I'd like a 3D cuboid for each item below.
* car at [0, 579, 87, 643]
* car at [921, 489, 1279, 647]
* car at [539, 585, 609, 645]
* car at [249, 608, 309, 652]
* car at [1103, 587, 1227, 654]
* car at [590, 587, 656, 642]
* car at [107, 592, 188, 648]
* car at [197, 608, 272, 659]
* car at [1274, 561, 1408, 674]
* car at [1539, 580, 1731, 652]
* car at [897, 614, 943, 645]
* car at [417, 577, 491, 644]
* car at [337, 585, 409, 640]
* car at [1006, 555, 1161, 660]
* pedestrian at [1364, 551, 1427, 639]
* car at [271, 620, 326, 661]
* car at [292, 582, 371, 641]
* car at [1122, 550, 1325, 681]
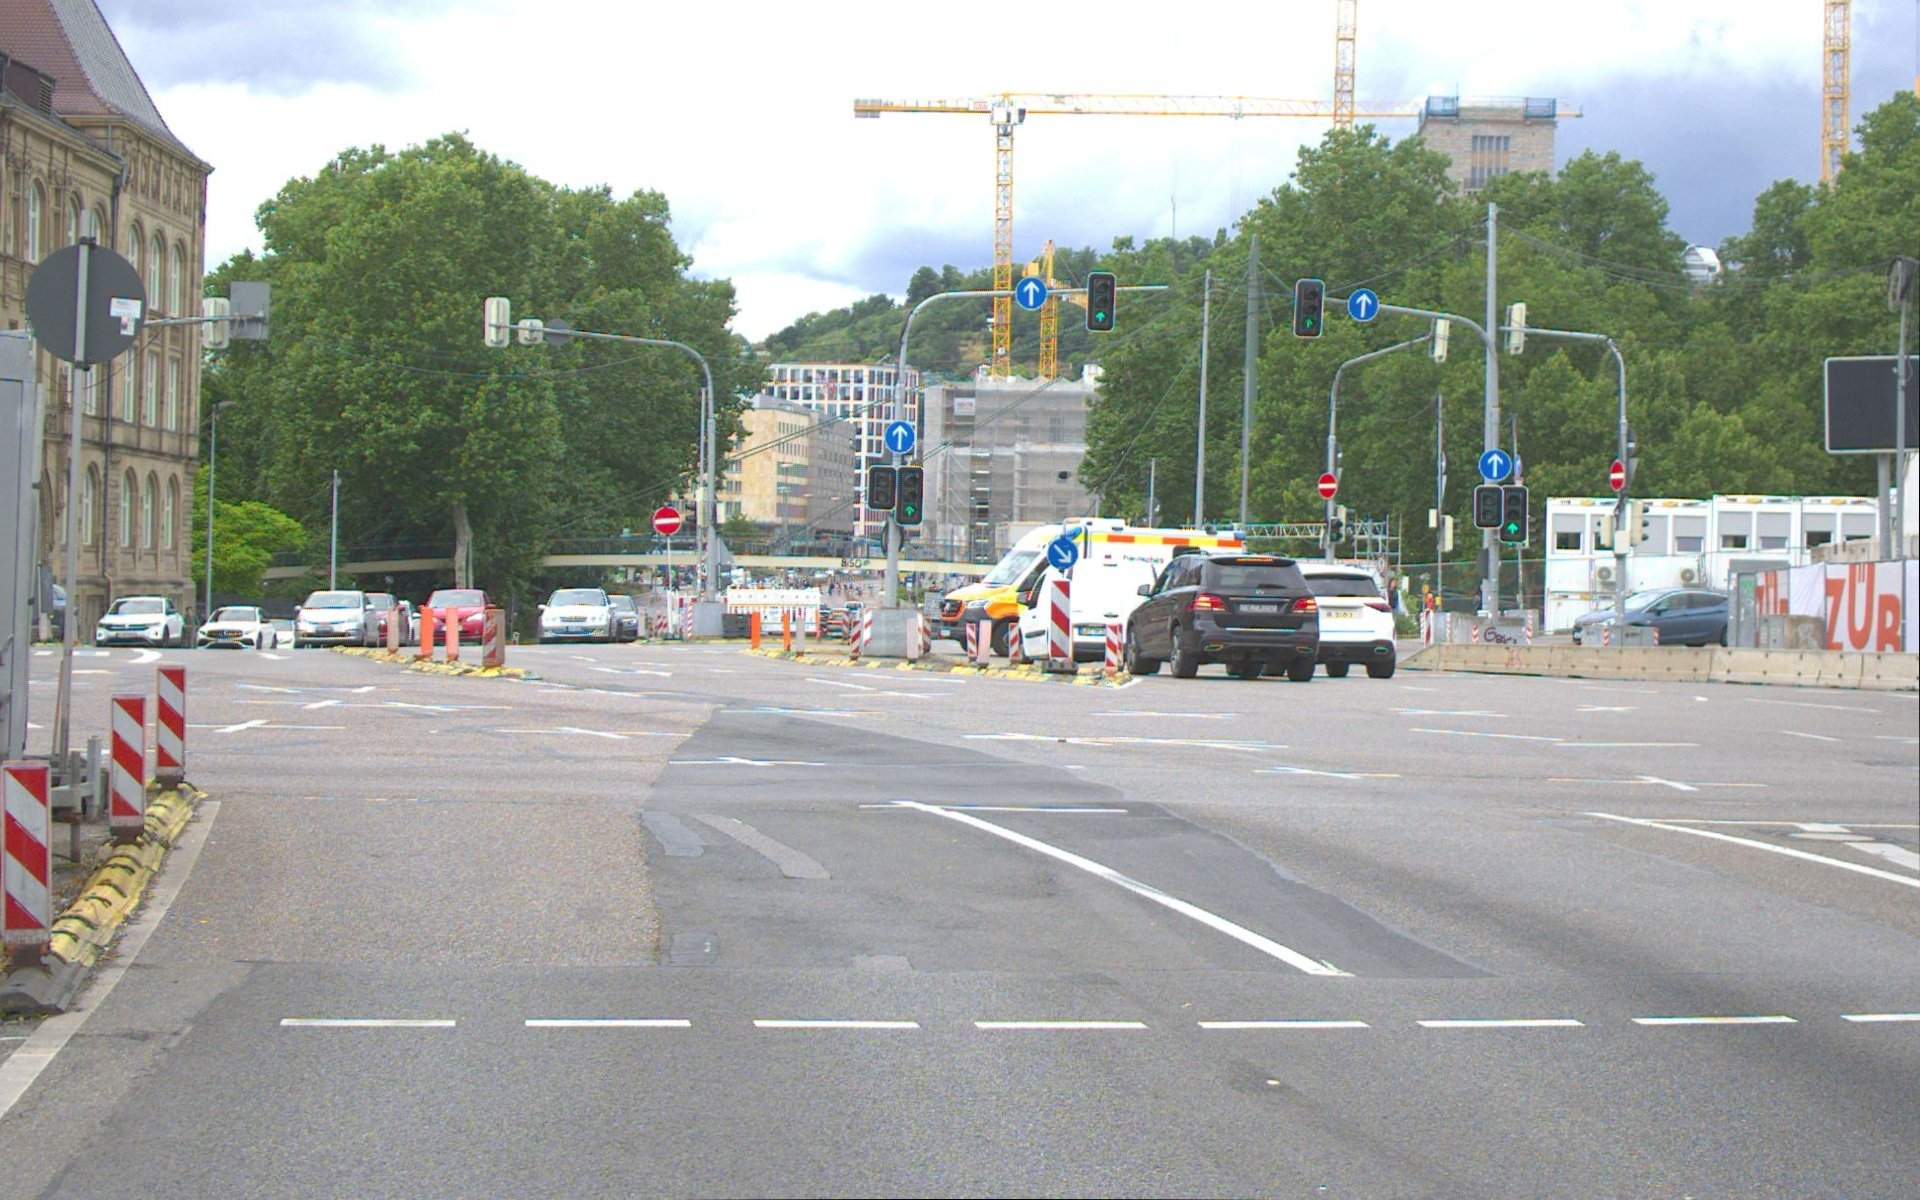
[{"bbox_3d":[-21.164,0.244,78.967,1.675,1.393,3.684,1,1,-7],"label":"car"},{"bbox_3d":[2.808,-0.624,69.085,6.735,3.041,2.373,1,0,-18],"label":"car"},{"bbox_3d":[-9.560,0.362,85.078,1.675,1.393,3.684,1,1,-7],"label":"car"},{"bbox_3d":[-22.867,1.005,115.537,1.675,1.393,3.684,1,1,-7],"label":"car"},{"bbox_3d":[4.506,0.439,75.998,1.675,1.393,3.087,1,1,-19],"label":"car"},{"bbox_3d":[-9.045,0.372,92.010,1.675,1.393,3.684,1,1,-7],"label":"car"},{"bbox_3d":[-21.527,0.516,91.198,1.675,1.393,3.684,1,1,-7],"label":"car"},{"bbox_3d":[-22.229,1.008,105.464,1.676,1.393,3.684,2,1,-3],"label":"car"},{"bbox_3d":[5.964,0.254,54.098,1.676,1.696,3.374,1,1,-1],"label":"car"},{"bbox_3d":[15.653,0.365,79.774,3.986,1.619,1.823,1,1,-19],"label":"car"},{"bbox_3d":[-1.575,1.151,134.219,1.308,1.071,3.684,1,1,-8],"label":"car"},{"bbox_3d":[-12.446,0.235,84.729,1.675,1.575,3.684,1,1,-7],"label":"car"},{"bbox_3d":[-15.660,0.308,91.801,1.675,1.393,3.684,1,1,-7],"label":"car"},{"bbox_3d":[1.952,0.097,55.536,1.816,1.619,4.001,1,1,-8],"label":"car"},{"bbox_3d":[10.073,-0.128,79.629,1.094,2.007,1.185,1,0,-12],"label":"pedestrian"},{"bbox_3d":[-24.026,1.456,125.012,1.675,1.393,3.684,1,1,-7],"label":"car"},{"bbox_3d":[-15.641,0.272,85.639,1.675,1.393,3.684,1,1,-7],"label":"car"},{"bbox_3d":[3.661,0.184,48.489,1.831,1.740,4.257,1,1,-10],"label":"car"}]
